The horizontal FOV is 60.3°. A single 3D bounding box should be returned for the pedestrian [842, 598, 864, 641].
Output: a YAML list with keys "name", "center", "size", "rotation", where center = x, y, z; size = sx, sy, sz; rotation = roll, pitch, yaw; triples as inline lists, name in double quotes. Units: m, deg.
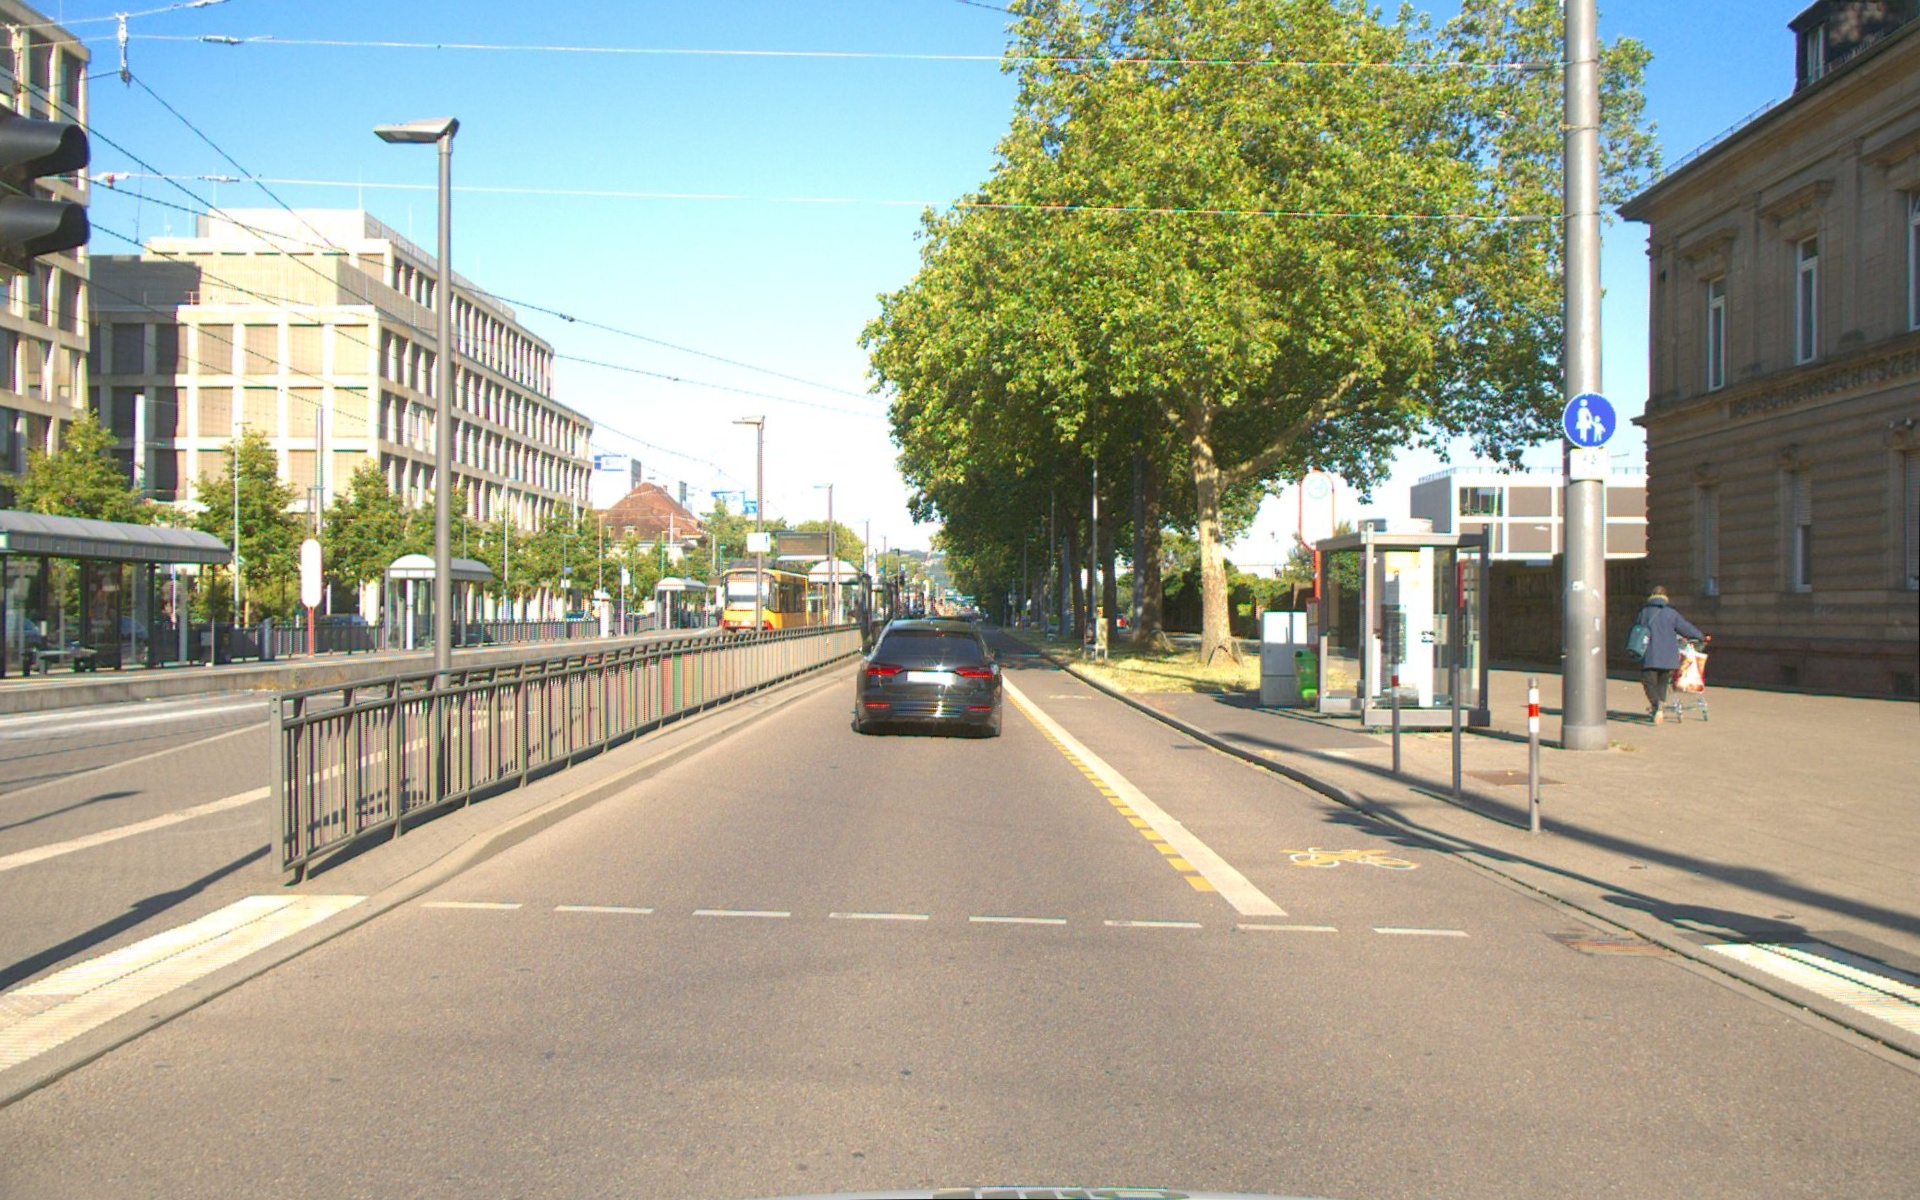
- name: "pedestrian"
  center: [-3.895, 0.703, 60.371]
  size: [0.730, 1.535, 0.666]
  rotation: [-1, -1, 3]

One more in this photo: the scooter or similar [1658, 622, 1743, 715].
- name: "scooter or similar"
  center: [9.684, 0.887, 21.658]
  size: [0.704, 1.176, 0.759]
  rotation: [-2, -1, -6]

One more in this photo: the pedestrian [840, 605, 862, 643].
- name: "pedestrian"
  center: [-3.748, 0.829, 56.773]
  size: [0.726, 1.296, 0.524]
  rotation: [0, -1, -1]

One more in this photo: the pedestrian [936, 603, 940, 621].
- name: "pedestrian"
  center: [-2.153, 1.196, 162.048]
  size: [0.403, 1.747, 0.665]
  rotation: [0, -1, 0]

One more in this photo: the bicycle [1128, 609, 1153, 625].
- name: "bicycle"
  center: [13.271, 1.227, 121.711]
  size: [1.737, 1.140, 0.439]
  rotation: [-1, -1, -1]

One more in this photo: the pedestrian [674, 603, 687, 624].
- name: "pedestrian"
  center: [-17.128, 0.827, 101.434]
  size: [0.601, 1.282, 0.725]
  rotation: [0, -1, 4]

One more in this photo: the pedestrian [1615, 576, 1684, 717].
- name: "pedestrian"
  center: [8.941, 0.597, 21.446]
  size: [0.754, 1.775, 0.796]
  rotation: [-2, -1, 24]

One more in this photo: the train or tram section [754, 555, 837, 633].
- name: "train or tram section"
  center: [-8.694, -0.255, 89.009]
  size: [3.241, 3.896, 11.842]
  rotation: [0, 0, 0]

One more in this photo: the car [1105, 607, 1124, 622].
- name: "car"
  center: [15.353, 1.427, 164.715]
  size: [1.581, 1.542, 3.803]
  rotation: [0, 0, 1]

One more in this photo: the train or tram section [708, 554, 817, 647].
- name: "train or tram section"
  center: [-8.837, 0.072, 75.897]
  size: [3.241, 3.896, 14.218]
  rotation: [0, 0, 0]

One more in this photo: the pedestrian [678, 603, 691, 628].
- name: "pedestrian"
  center: [-17.286, 0.957, 103.787]
  size: [0.601, 1.554, 0.725]
  rotation: [0, -1, 9]

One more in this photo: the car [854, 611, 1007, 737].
- name: "car"
  center: [-0.407, 0.895, 21.506]
  size: [1.840, 1.482, 3.355]
  rotation: [0, 0, -2]

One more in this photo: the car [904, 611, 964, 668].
- name: "car"
  center: [-0.815, 1.157, 50.096]
  size: [1.727, 1.647, 3.998]
  rotation: [0, 0, -2]

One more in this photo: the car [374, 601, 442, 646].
- name: "car"
  center: [-25.816, 1.083, 77.413]
  size: [1.953, 2.049, 3.998]
  rotation: [0, 0, -2]

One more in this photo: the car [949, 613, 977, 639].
- name: "car"
  center: [0.191, 1.684, 107.724]
  size: [1.727, 1.647, 3.998]
  rotation: [0, 0, -2]
